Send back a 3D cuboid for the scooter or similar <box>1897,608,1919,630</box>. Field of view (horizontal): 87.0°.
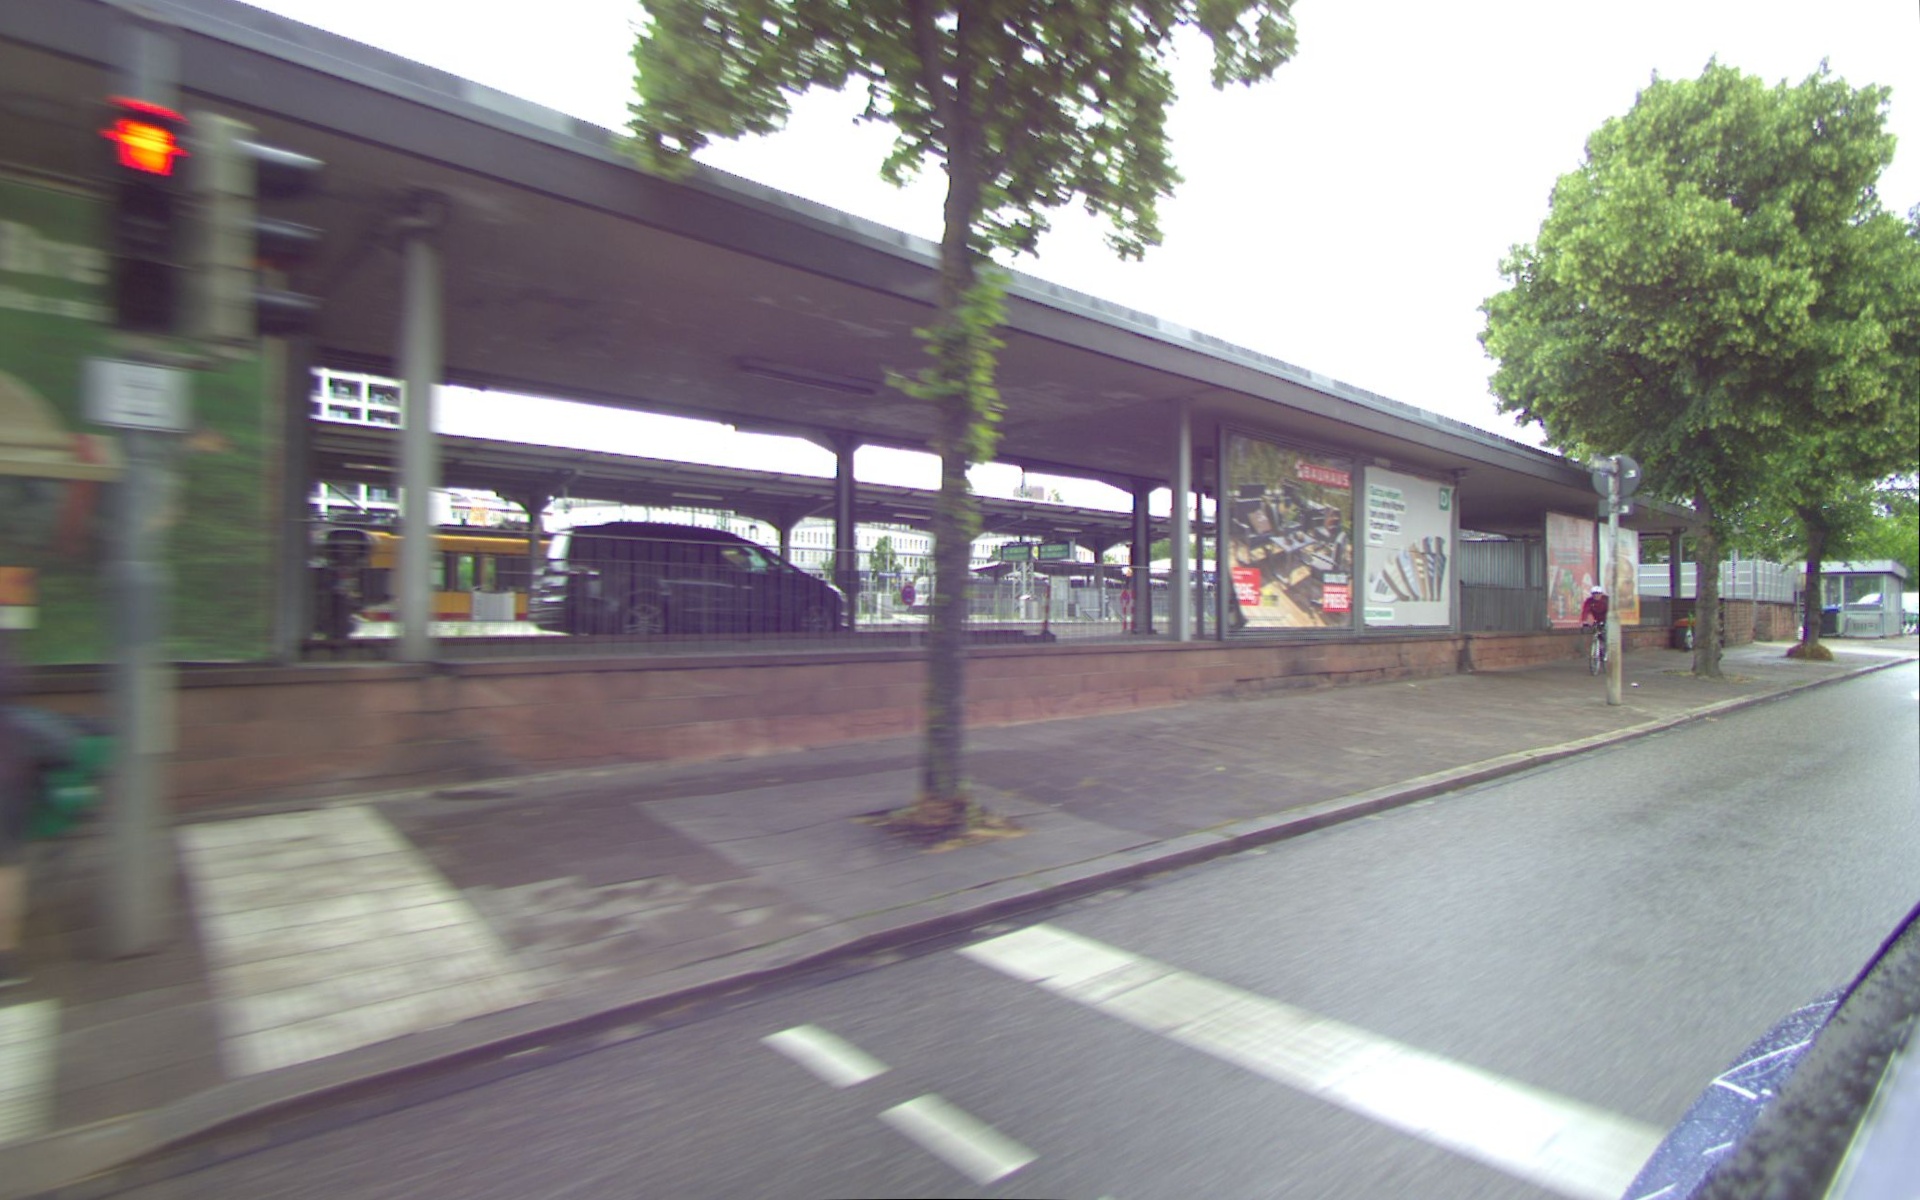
[{"bbox_3d":[52.190,1.013,55.467,1.638,1.170,1.066,0,0,-41],"label":"scooter or similar"}]

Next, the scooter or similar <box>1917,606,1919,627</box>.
[{"bbox_3d":[52.997,0.888,55.233,1.237,1.170,0.415,0,-2,-10],"label":"scooter or similar"}]

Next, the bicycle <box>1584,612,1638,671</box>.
[{"bbox_3d":[12.389,0.766,19.249,1.649,1.029,0.447,0,3,-44],"label":"bicycle"}]

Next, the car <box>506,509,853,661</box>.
[{"bbox_3d":[-3.988,-0.208,14.864,4.520,1.894,1.996,0,1,-43],"label":"car"}]

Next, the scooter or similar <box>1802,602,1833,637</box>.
[{"bbox_3d":[30.331,0.666,35.804,0.490,1.167,1.698,1,1,29],"label":"scooter or similar"}]

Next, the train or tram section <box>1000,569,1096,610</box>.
[{"bbox_3d":[8.437,-0.978,95.623,10.752,3.648,2.741,0,1,-45],"label":"train or tram section"}]

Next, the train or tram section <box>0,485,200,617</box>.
[{"bbox_3d":[-25.385,-1.280,26.145,8.978,3.323,2.658,0,2,-43],"label":"train or tram section"}]

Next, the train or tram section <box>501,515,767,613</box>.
[{"bbox_3d":[-12.100,-1.264,38.452,9.358,3.323,2.658,0,2,-43],"label":"train or tram section"}]

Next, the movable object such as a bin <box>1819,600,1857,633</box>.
[{"bbox_3d":[36.632,0.670,42.223,1.295,1.355,1.035,1,0,-43],"label":"movable object such as a bin"}]

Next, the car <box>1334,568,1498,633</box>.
[{"bbox_3d":[12.002,-0.022,26.788,1.714,1.562,3.570,1,1,-36],"label":"car"}]

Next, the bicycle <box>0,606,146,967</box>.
[{"bbox_3d":[-3.708,0.693,3.372,0.478,1.264,1.723,2,2,6],"label":"bicycle"}]

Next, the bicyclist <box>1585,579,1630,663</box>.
[{"bbox_3d":[12.323,0.390,19.258,0.683,1.557,0.534,0,2,-44],"label":"bicyclist"}]

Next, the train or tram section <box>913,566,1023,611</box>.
[{"bbox_3d":[0.837,-0.974,88.142,10.750,3.648,2.742,0,1,-44],"label":"train or tram section"}]

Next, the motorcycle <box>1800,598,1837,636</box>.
[{"bbox_3d":[31.771,0.624,37.432,2.416,1.365,0.792,0,0,-44],"label":"motorcycle"}]

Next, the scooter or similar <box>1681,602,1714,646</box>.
[{"bbox_3d":[20.391,0.640,27.973,1.520,1.167,0.493,0,1,-44],"label":"scooter or similar"}]

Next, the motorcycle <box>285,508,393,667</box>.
[{"bbox_3d":[-7.072,-0.139,11.471,0.682,1.630,2.345,0,0,-41],"label":"motorcycle"}]

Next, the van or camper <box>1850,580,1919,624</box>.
[{"bbox_3d":[66.091,0.163,69.939,6.447,2.905,2.266,1,0,19],"label":"van or camper"}]

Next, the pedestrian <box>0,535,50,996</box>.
[{"bbox_3d":[-3.491,0.568,3.434,0.386,1.588,0.457,1,1,5],"label":"pedestrian"}]

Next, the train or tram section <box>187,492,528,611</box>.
[{"bbox_3d":[-18.856,-1.381,32.235,8.978,3.323,2.658,0,1,-43],"label":"train or tram section"}]
